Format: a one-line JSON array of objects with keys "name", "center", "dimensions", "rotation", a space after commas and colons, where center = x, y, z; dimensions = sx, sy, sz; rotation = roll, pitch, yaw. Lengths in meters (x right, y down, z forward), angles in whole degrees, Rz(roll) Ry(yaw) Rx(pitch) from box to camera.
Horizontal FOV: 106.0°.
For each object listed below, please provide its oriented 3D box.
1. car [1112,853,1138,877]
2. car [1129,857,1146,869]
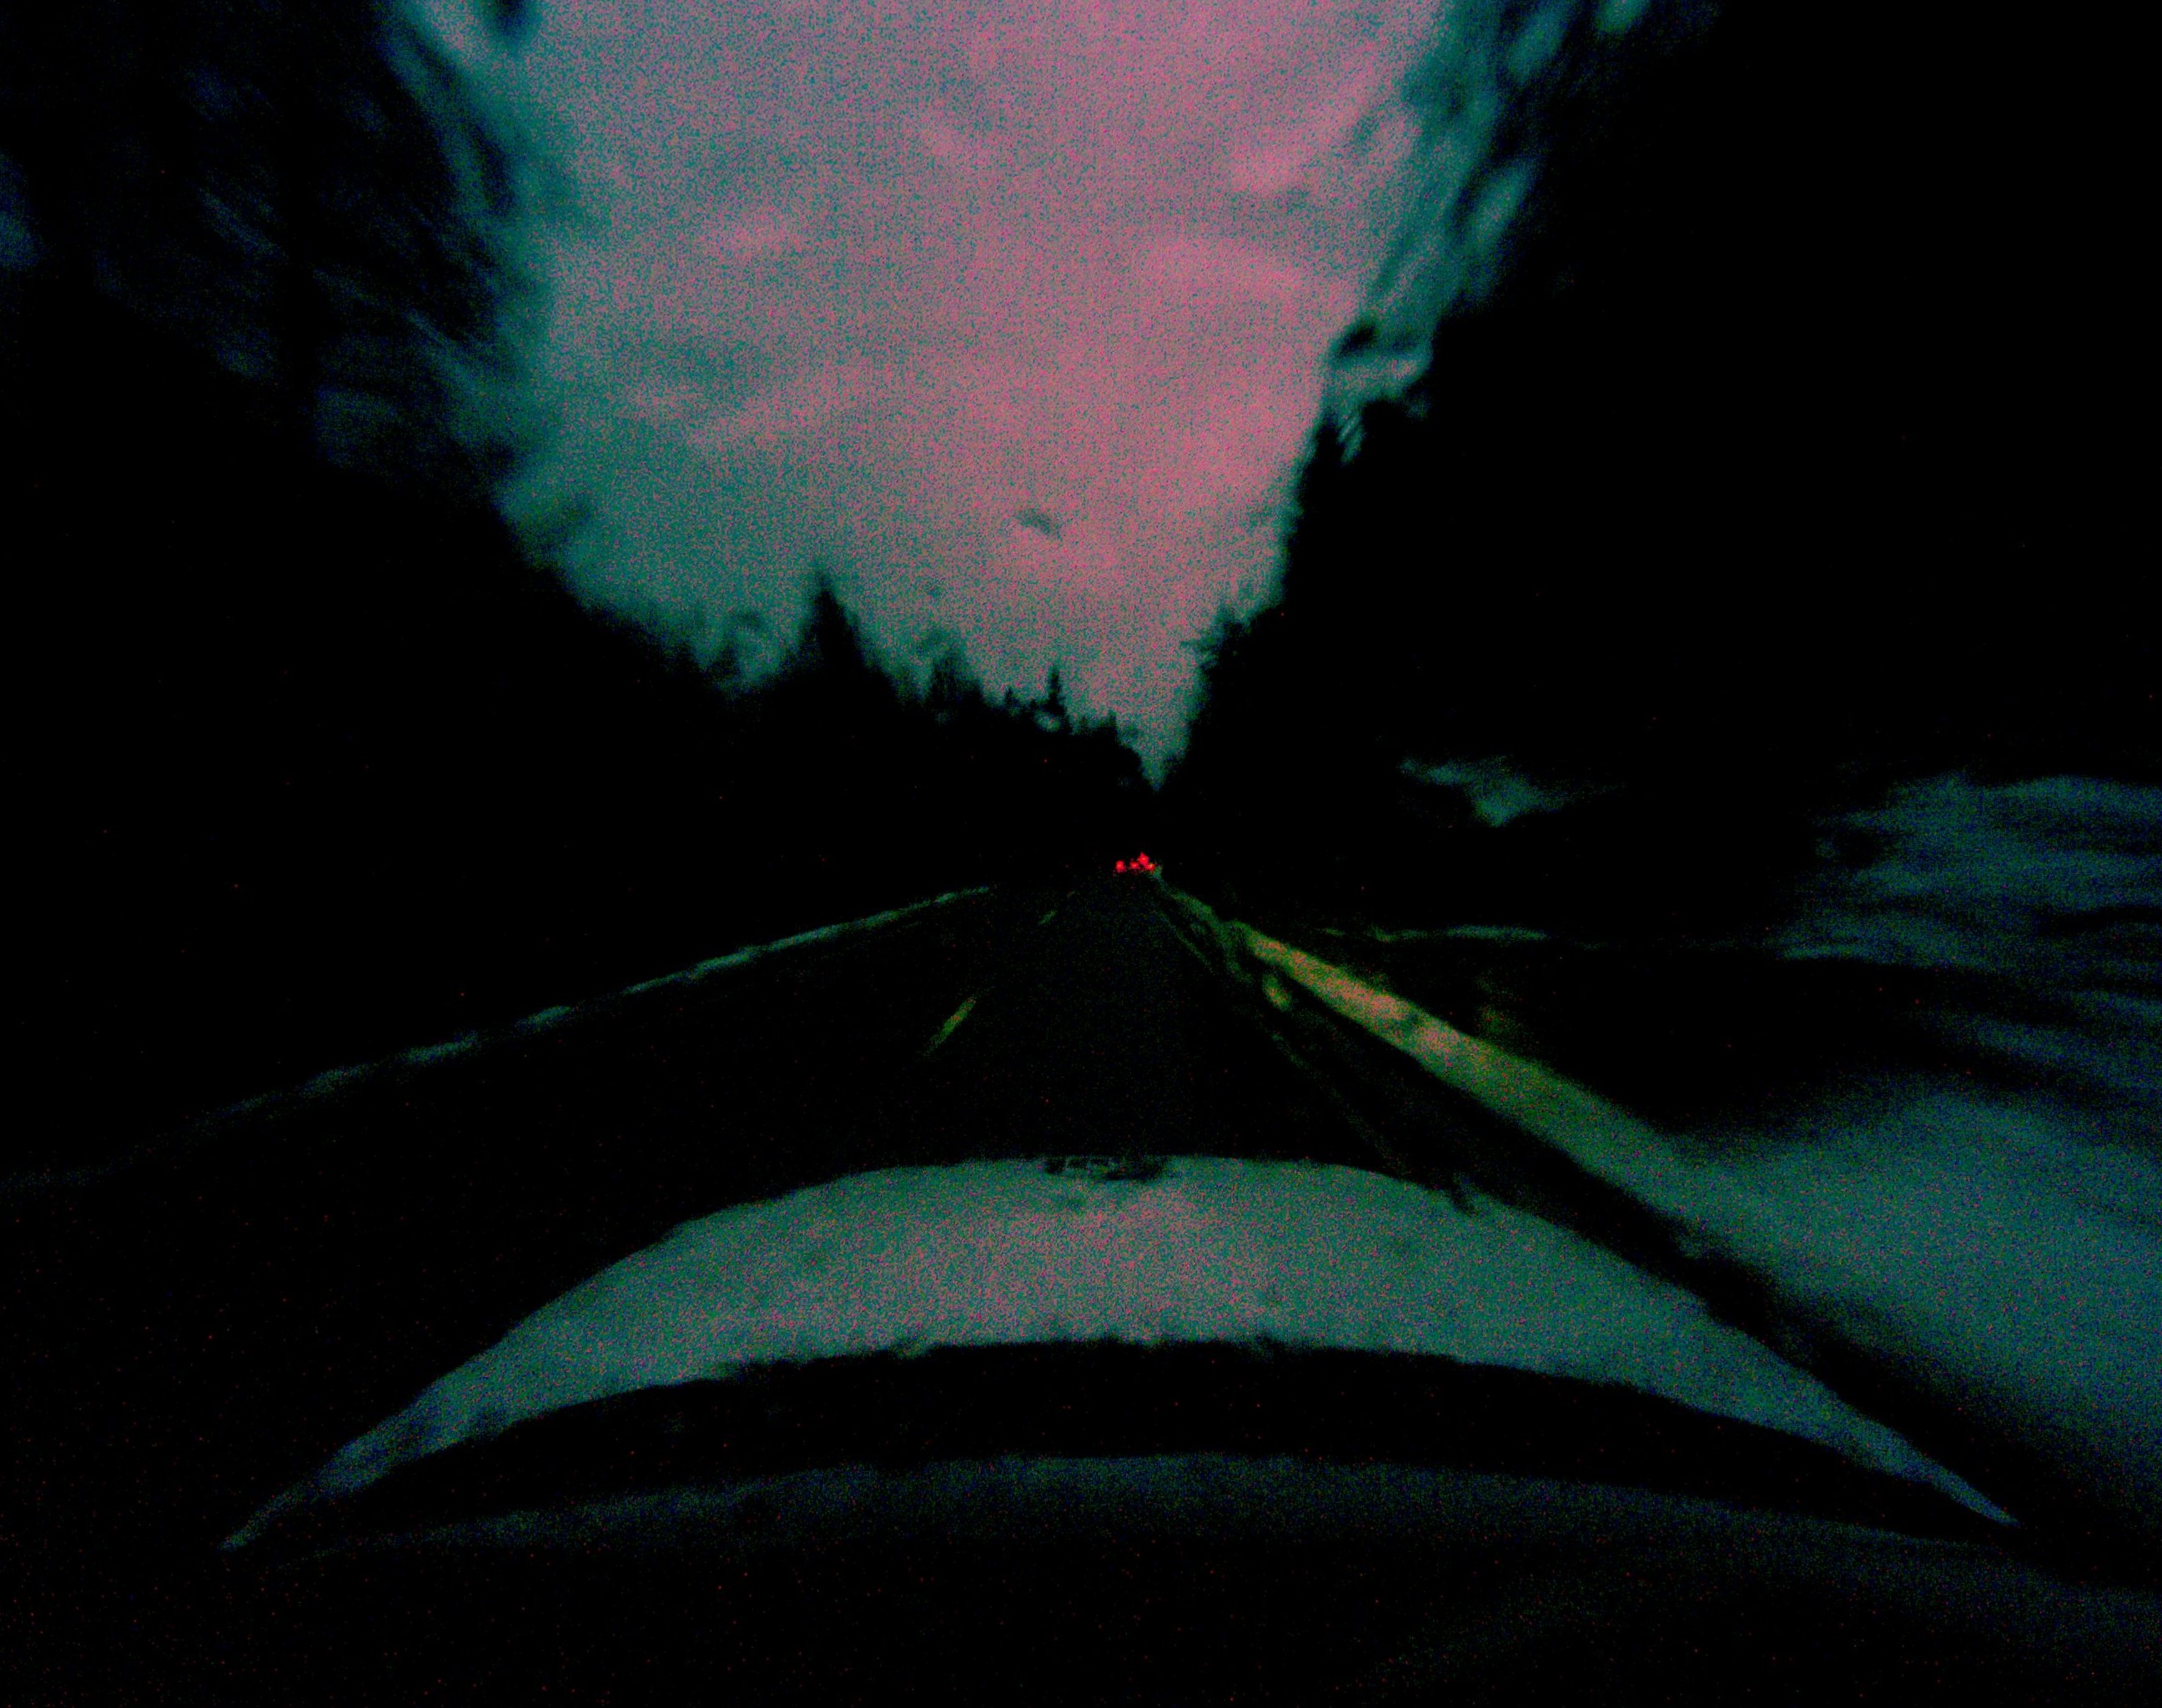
[{"name": "car", "center": [3.746, 0.908, 69.376], "dimensions": [1.985, 1.872, 4.003], "rotation": [-3, 0, 3]}, {"name": "car", "center": [7.112, 1.097, 102.471], "dimensions": [1.985, 1.310, 4.003], "rotation": [-3, 0, 3]}]
